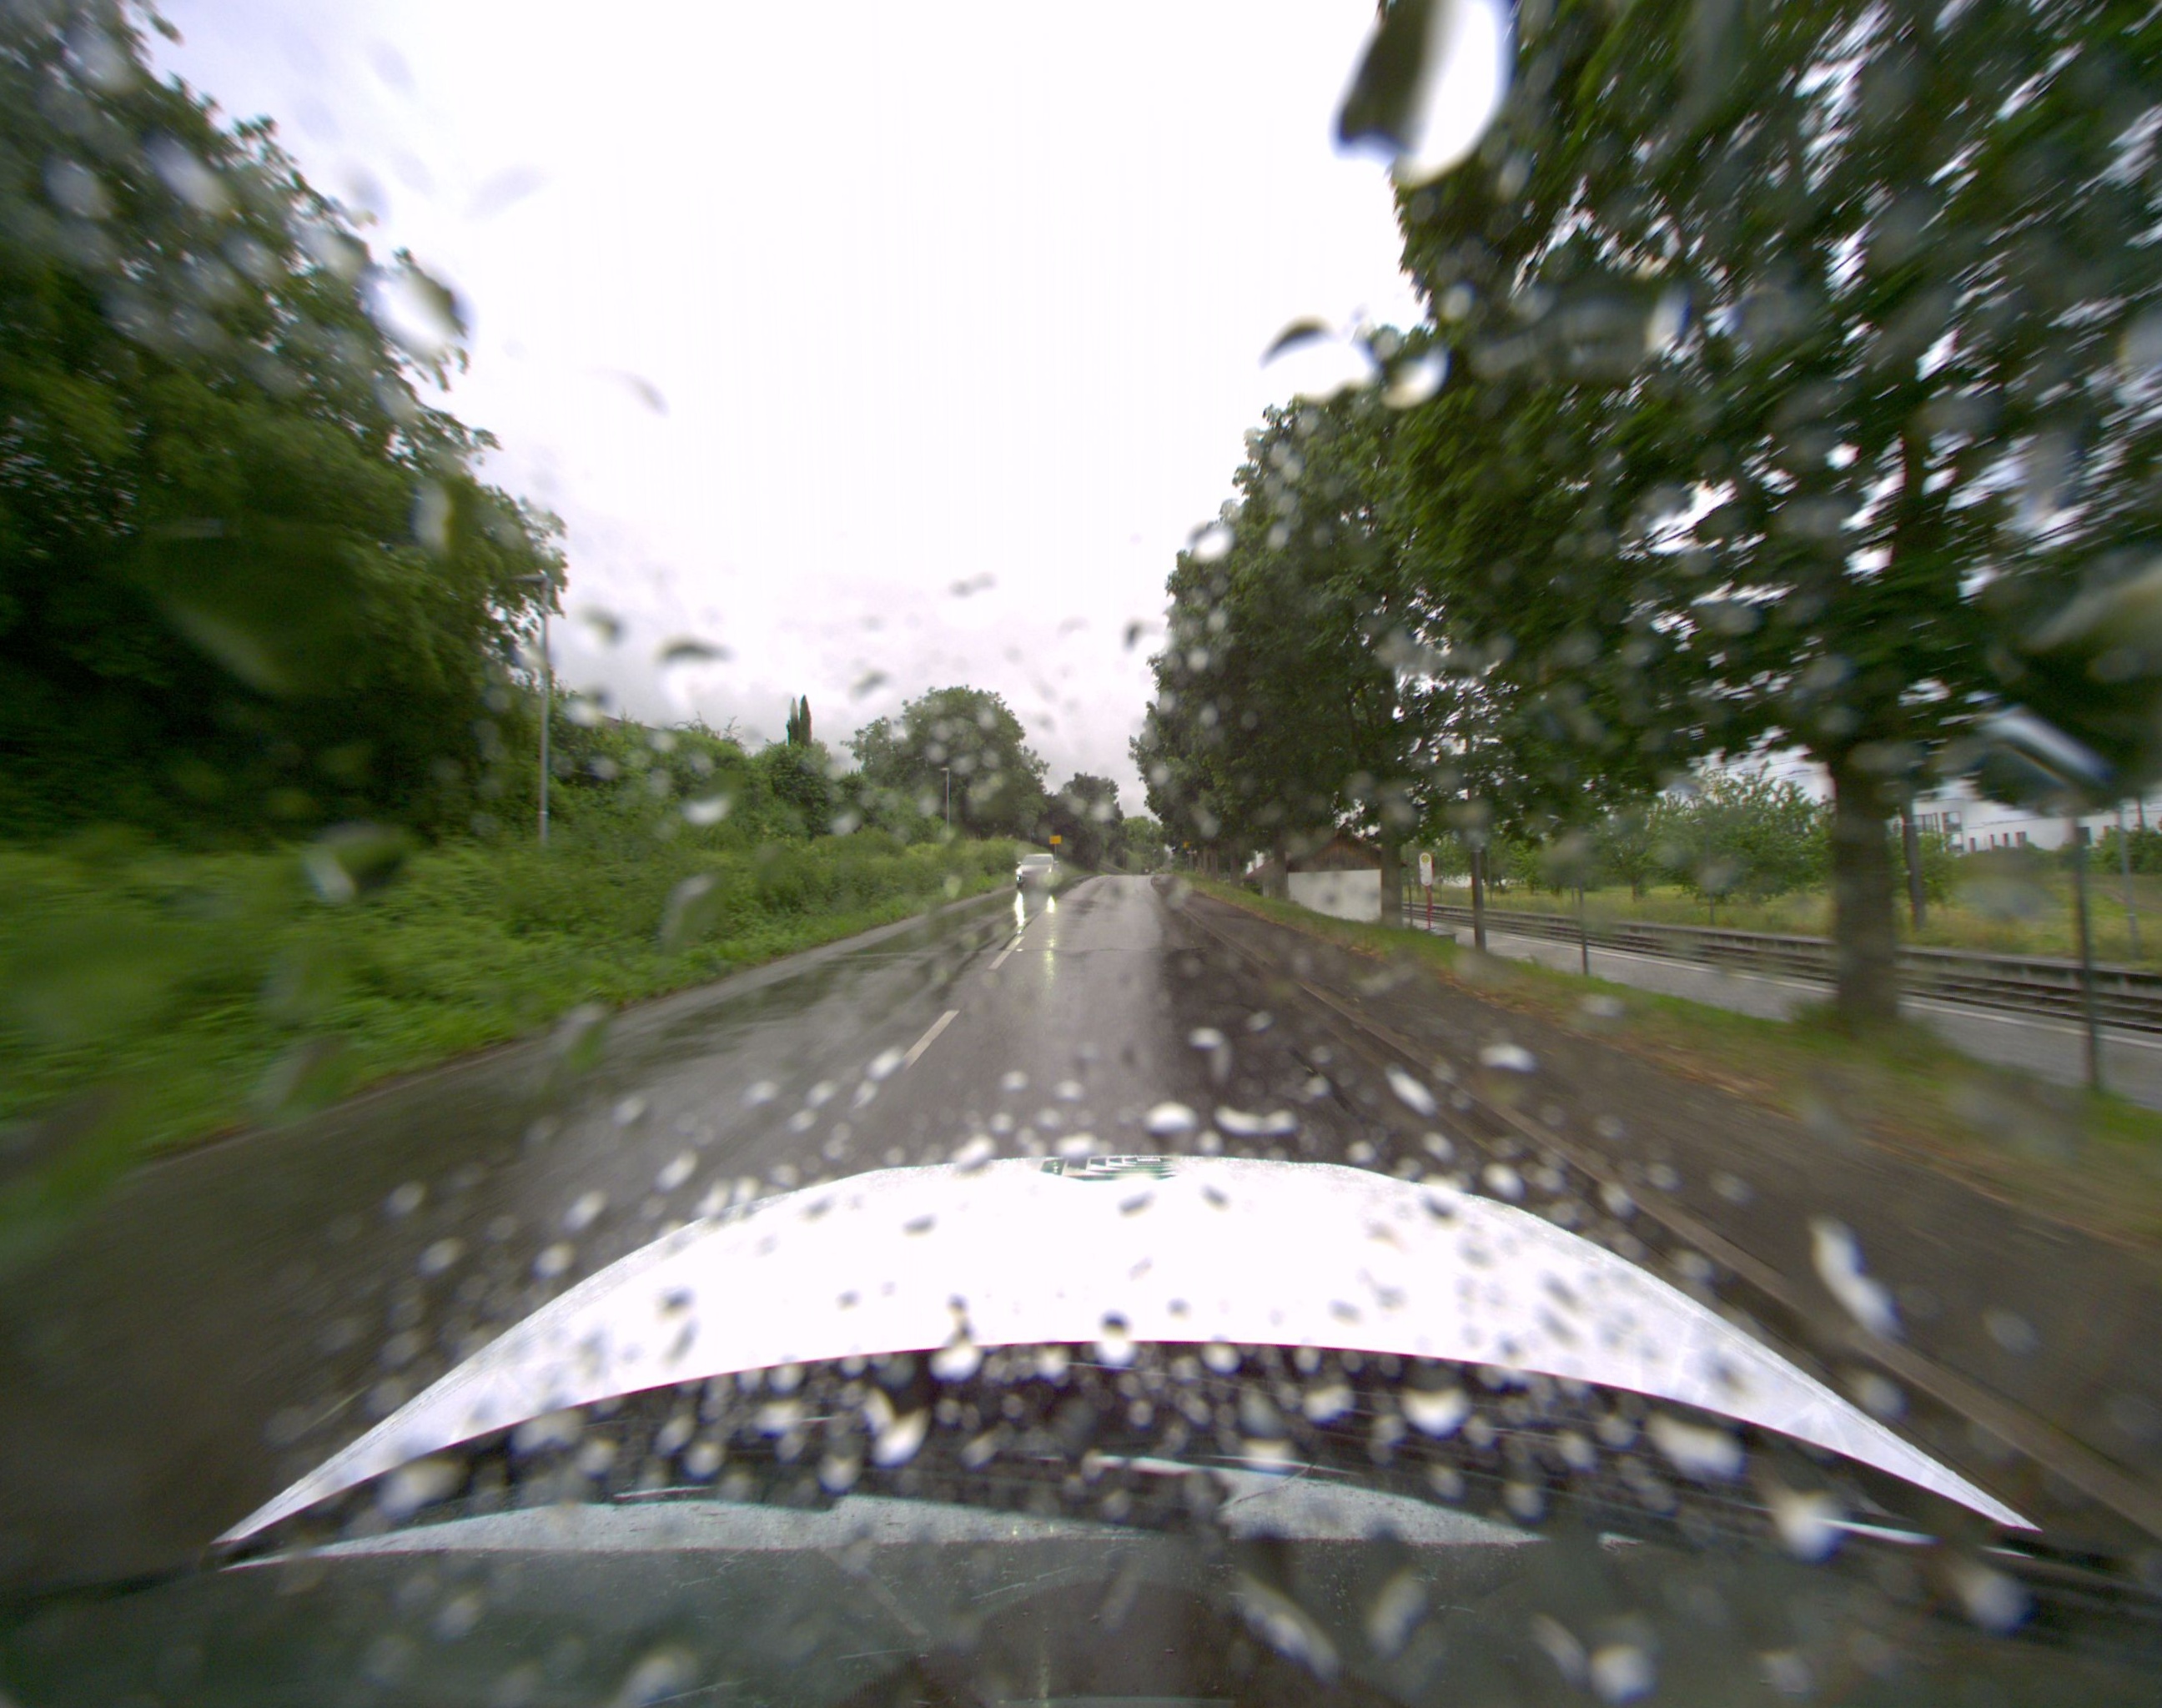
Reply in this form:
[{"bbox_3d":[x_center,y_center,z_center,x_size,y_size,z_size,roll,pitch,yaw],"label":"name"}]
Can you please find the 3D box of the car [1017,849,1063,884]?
[{"bbox_3d":[-1.918,0.571,39.349,1.774,1.504,4.003,-2,1,3],"label":"car"}]
